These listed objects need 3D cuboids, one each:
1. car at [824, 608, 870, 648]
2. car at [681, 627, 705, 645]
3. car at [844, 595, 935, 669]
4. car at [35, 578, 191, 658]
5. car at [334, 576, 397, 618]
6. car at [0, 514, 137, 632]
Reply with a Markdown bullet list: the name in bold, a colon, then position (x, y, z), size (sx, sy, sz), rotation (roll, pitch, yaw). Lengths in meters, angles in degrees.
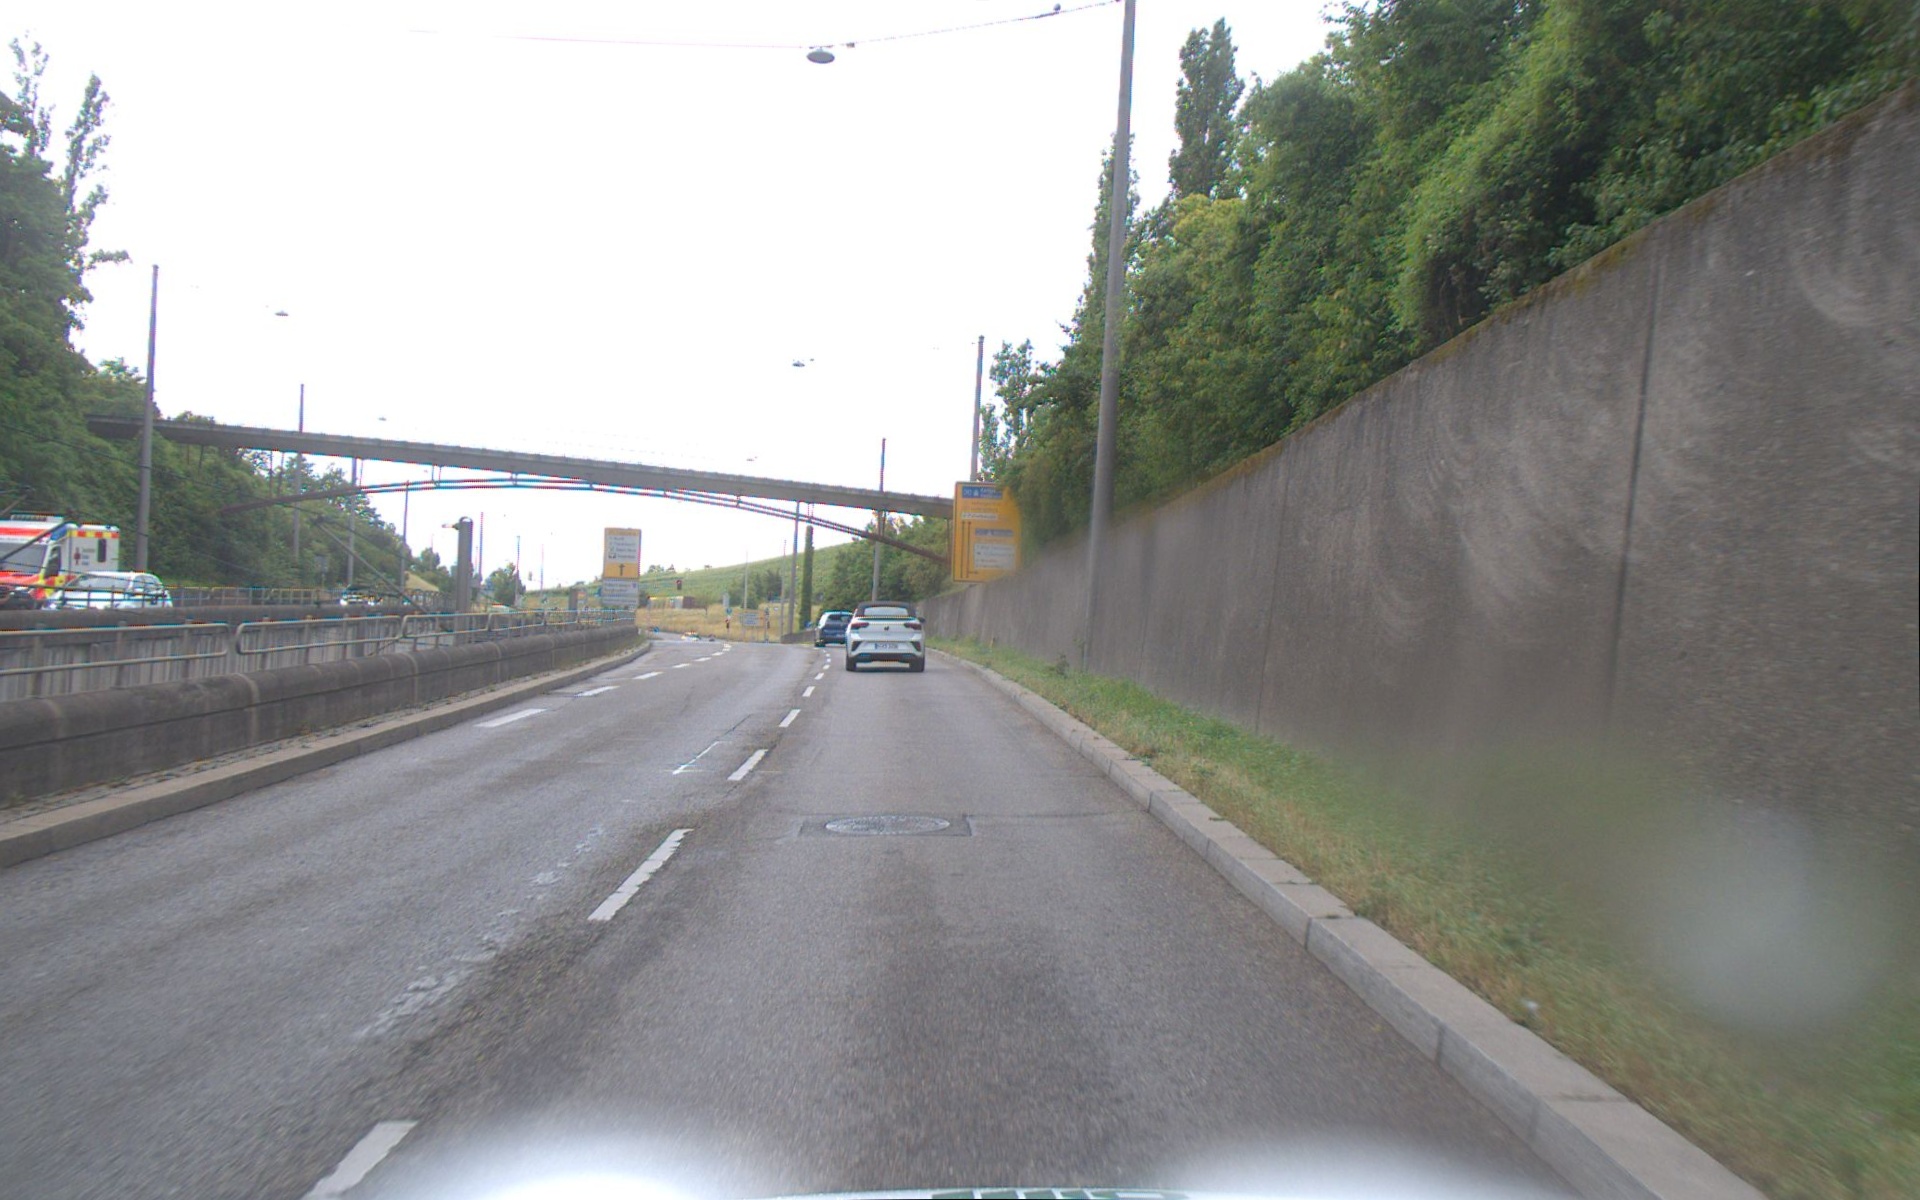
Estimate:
- **car**: position (-4.809, 1.166, 69.840), size (1.888, 1.627, 4.057), rotation (0, 0, -5)
- **car**: position (-25.928, 3.522, 160.619), size (1.739, 1.545, 3.723), rotation (5, -3, -1)
- **car**: position (-1.668, 0.696, 37.860), size (1.956, 1.606, 4.122), rotation (0, 0, -4)
- **car**: position (-19.533, 0.413, 38.328), size (1.782, 1.734, 4.106), rotation (0, 0, -5)
- **car**: position (-26.116, -0.101, 72.771), size (1.925, 1.780, 4.131), rotation (0, 0, -10)
- **car**: position (-23.376, -0.616, 42.110), size (2.140, 2.782, 6.337), rotation (0, 0, -5)
